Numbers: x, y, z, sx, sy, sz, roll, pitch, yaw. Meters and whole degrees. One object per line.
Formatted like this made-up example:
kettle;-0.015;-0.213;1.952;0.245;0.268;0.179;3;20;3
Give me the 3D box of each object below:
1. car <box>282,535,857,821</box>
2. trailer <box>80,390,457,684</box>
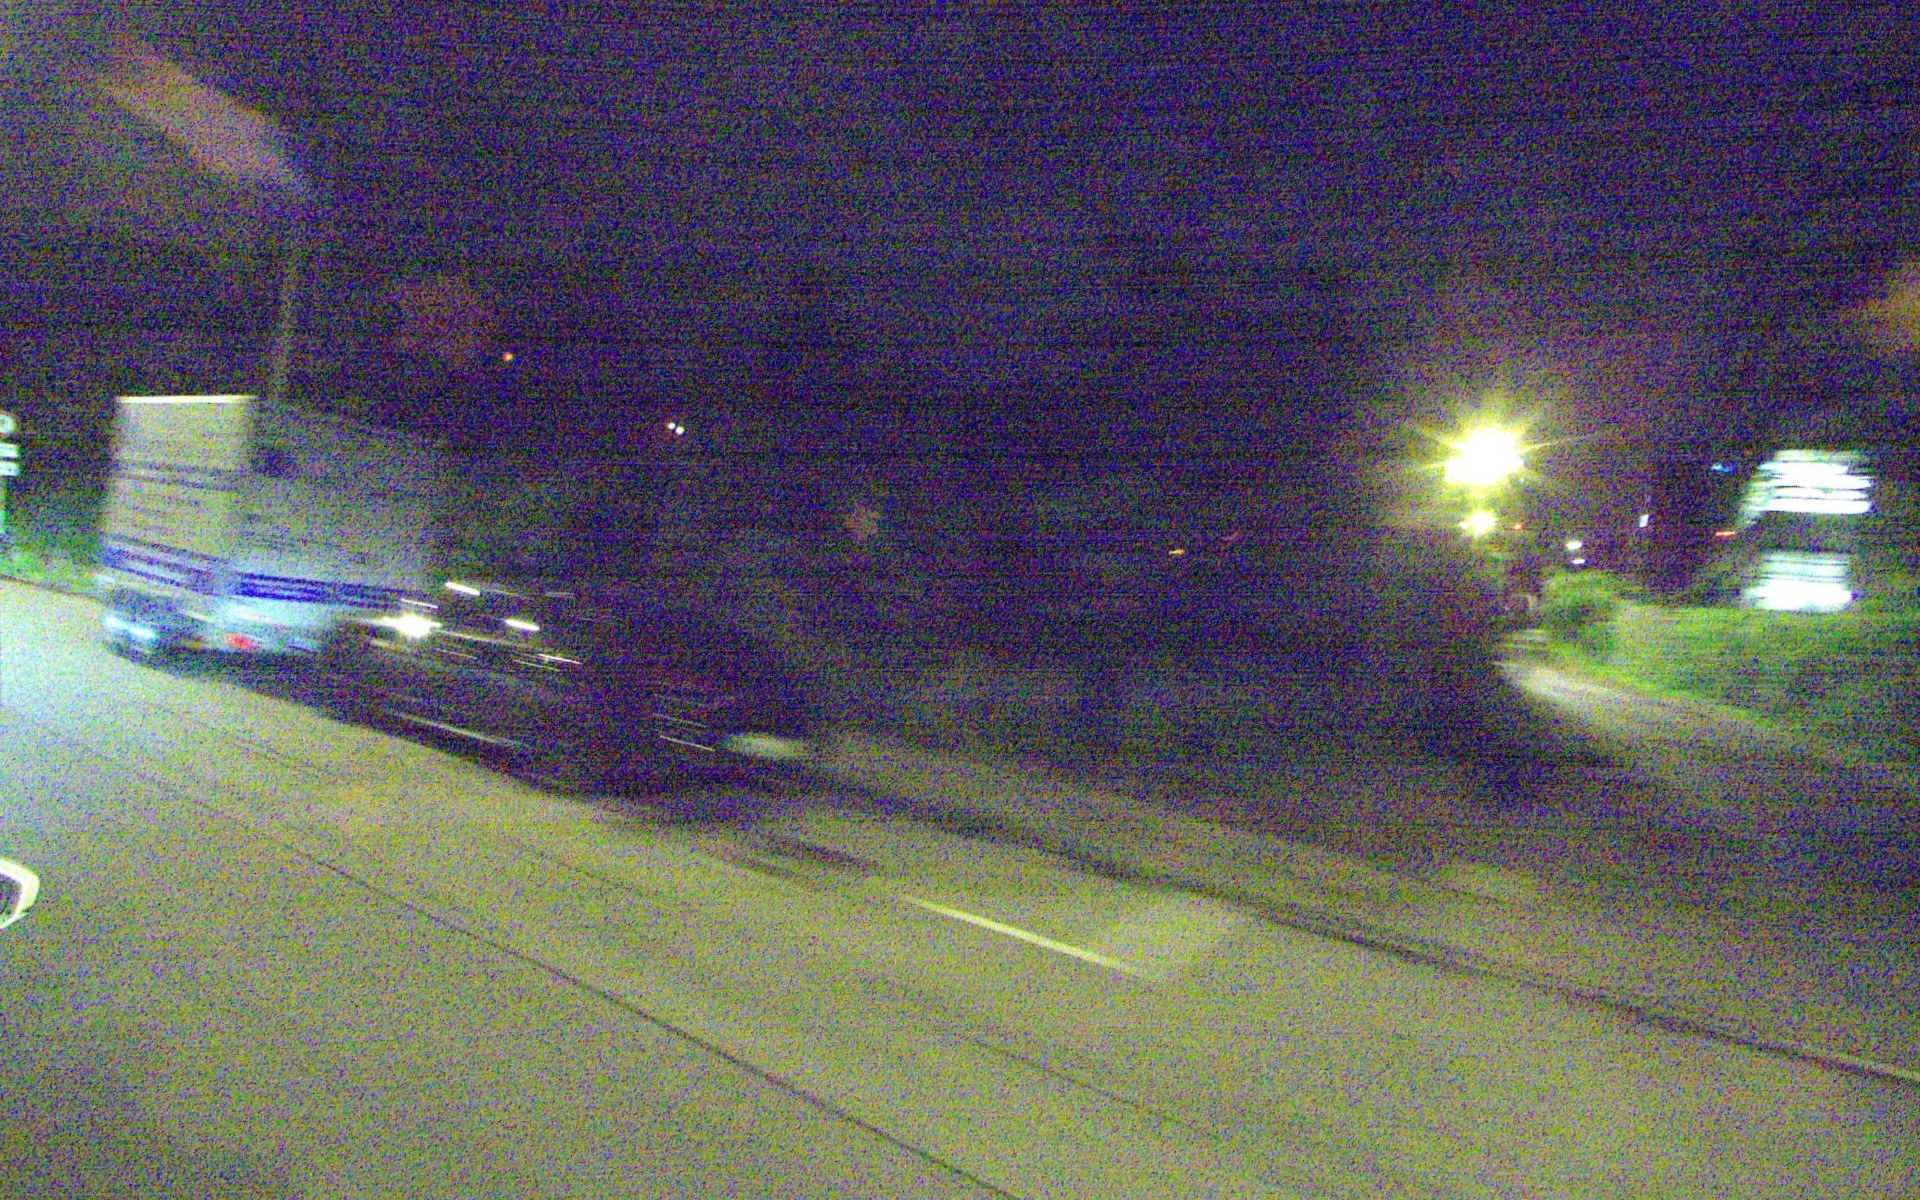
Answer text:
car;-3.266;0.485;8.104;4.597;1.403;1.730;8;-1;31
trailer;-7.813;-0.726;11.277;3.937;2.682;1.995;8;-1;35
